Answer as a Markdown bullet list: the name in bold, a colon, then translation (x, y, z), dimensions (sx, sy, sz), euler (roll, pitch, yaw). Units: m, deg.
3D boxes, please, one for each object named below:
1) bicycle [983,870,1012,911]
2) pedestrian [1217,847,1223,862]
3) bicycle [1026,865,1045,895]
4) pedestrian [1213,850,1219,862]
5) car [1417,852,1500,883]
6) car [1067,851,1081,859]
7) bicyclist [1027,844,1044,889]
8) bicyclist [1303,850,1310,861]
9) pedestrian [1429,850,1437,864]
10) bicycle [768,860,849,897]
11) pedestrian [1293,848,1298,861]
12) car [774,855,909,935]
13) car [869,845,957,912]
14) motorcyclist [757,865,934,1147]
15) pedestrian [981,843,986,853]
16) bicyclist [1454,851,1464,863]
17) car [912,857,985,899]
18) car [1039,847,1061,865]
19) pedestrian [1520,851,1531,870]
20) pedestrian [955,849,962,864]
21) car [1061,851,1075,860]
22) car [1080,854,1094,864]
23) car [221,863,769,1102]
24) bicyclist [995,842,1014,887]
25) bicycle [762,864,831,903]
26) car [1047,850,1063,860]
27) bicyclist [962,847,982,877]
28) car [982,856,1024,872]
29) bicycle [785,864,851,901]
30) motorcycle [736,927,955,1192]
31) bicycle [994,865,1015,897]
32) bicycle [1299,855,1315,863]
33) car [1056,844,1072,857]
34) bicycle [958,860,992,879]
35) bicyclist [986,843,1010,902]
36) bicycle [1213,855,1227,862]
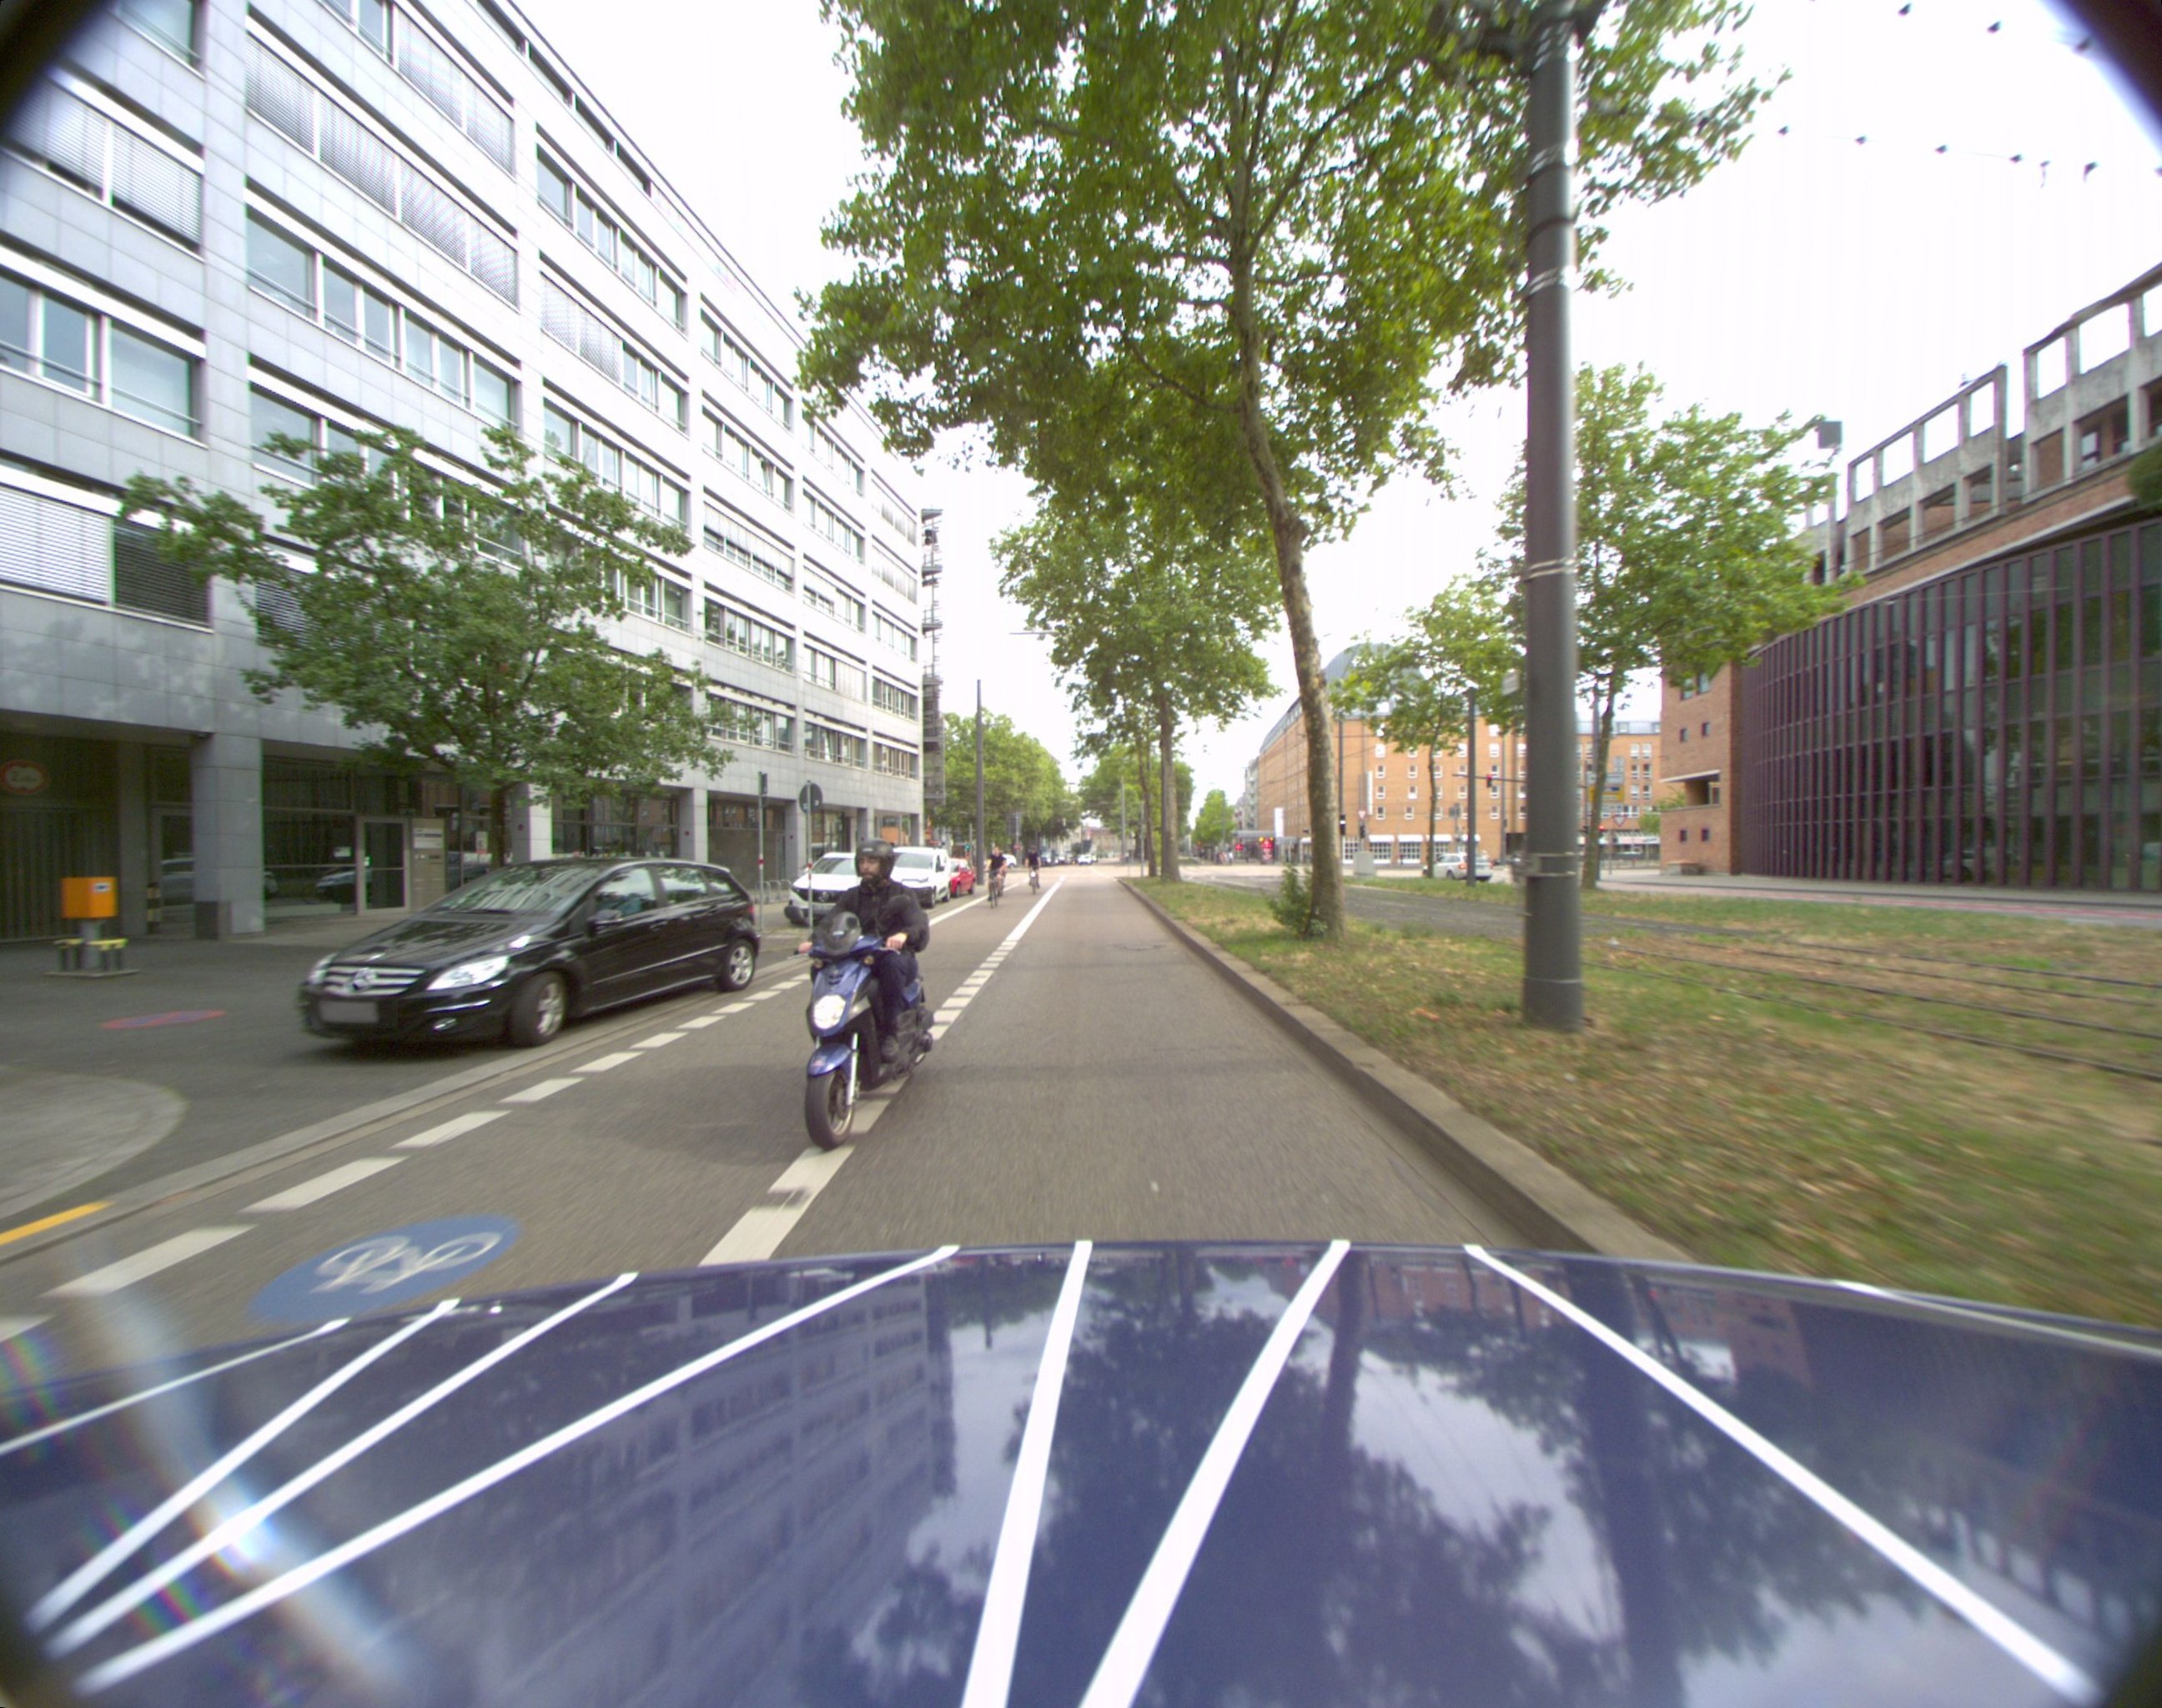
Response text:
- **bicycle**: translation (-2.530, 1.088, 23.220), dimensions (0.595, 1.132, 2.091), euler (0, 0, 1)
- **pedestrian**: translation (18.421, 0.061, 100.489), dimensions (0.693, 1.941, 0.534), euler (0, 1, -1)
- **bicycle**: translation (-1.793, 1.003, 29.930), dimensions (0.595, 1.132, 1.858), euler (0, 0, 1)
- **pedestrian**: translation (18.242, 0.275, 102.965), dimensions (0.684, 1.696, 0.534), euler (0, 1, -8)
- **car**: translation (18.543, 0.634, 37.602), dimensions (1.788, 1.413, 4.657), euler (0, 0, -1)
- **car**: translation (-1.214, 0.176, 134.193), dimensions (1.997, 1.270, 4.002), euler (0, 1, 8)
- **bicyclist**: translation (-1.783, 0.476, 29.942), dimensions (0.591, 1.760, 1.035), euler (0, 1, 1)
- **bicyclist**: translation (29.422, 0.199, 98.975), dimensions (0.864, 1.493, 0.637), euler (0, 1, 13)
- **pedestrian**: translation (42.409, 0.386, 91.599), dimensions (0.578, 1.722, 0.750), euler (0, 1, -6)
- **bicycle**: translation (-9.639, 0.868, 26.940), dimensions (2.639, 1.251, 0.655), euler (-1, 1, 1)
- **pedestrian**: translation (28.369, 0.108, 100.392), dimensions (0.563, 1.696, 0.535), euler (0, 1, 1)
- **car**: translation (-5.489, 0.867, 18.078), dimensions (2.000, 1.593, 4.581), euler (2, 0, -4)
- **car**: translation (-5.145, 0.694, 23.893), dimensions (1.832, 1.853, 4.647), euler (1, 0, -2)
- **motorcyclist**: translation (-1.382, 0.840, 4.659), dimensions (0.761, 1.510, 1.017), euler (0, 1, -1)
- **pedestrian**: translation (-16.213, -1.029, 125.941), dimensions (0.586, 1.722, 0.745), euler (0, 2, 20)
- **bicyclist**: translation (46.283, 0.364, 93.078), dimensions (0.865, 1.493, 0.636), euler (0, 1, -1)
- **car**: translation (-5.027, 0.868, 29.379), dimensions (1.726, 1.424, 4.254), euler (2, 0, 5)
- **car**: translation (-4.275, 0.231, 106.226), dimensions (2.174, 2.441, 6.999), euler (-1, 0, 4)
- **pedestrian**: translation (40.882, 0.633, 69.835), dimensions (0.578, 1.722, 0.751), euler (0, 1, -1)
- **pedestrian**: translation (-14.338, 0.261, 88.817), dimensions (0.678, 1.781, 0.669), euler (0, 1, 3)
- **car**: translation (-2.104, 0.249, 127.670), dimensions (1.915, 1.533, 4.094), euler (0, 0, 6)
- **car**: translation (0.920, 0.746, 115.231), dimensions (1.845, 1.369, 3.835), euler (0, -1, 6)
- **car**: translation (-5.096, 0.925, 7.552), dimensions (1.778, 1.567, 4.307), euler (1, 0, 7)
- **bicyclist**: translation (-2.855, 0.393, 28.398), dimensions (0.591, 1.644, 1.035), euler (0, 1, 1)
- **bicycle**: translation (-8.950, 0.930, 23.895), dimensions (2.059, 1.190, 0.480), euler (0, 1, 8)
- **car**: translation (-3.858, 0.163, 114.183), dimensions (1.756, 1.410, 4.275), euler (0, 1, 6)
- **bicyclist**: translation (-6.574, 0.468, 45.864), dimensions (0.914, 1.754, 0.720), euler (0, 1, 18)
- **car**: translation (-9.192, 1.184, 89.496), dimensions (4.647, 1.651, 1.960), euler (-2, 1, -42)
- **bicycle**: translation (-8.636, 0.928, 24.981), dimensions (2.059, 1.190, 0.480), euler (0, 1, 8)
- **motorcycle**: translation (-1.382, 1.156, 4.975), dimensions (0.769, 1.101, 2.207), euler (0, 1, -1)
- **bicycle**: translation (-2.851, 1.005, 28.475), dimensions (0.595, 1.132, 1.734), euler (0, 0, 1)
- **bicycle**: translation (29.442, 0.615, 98.988), dimensions (2.056, 1.002, 0.640), euler (0, 1, 13)
- **car**: translation (-2.715, -0.561, 121.186), dimensions (1.997, 2.002, 5.439), euler (0, 0, 6)
- **bicycle**: translation (-6.370, 0.943, 45.801), dimensions (1.900, 1.132, 0.727), euler (0, 1, 18)
- **bicyclist**: translation (-2.528, 0.547, 23.157), dimensions (0.591, 1.758, 1.035), euler (0, 1, 1)
- **bicycle**: translation (18.443, 0.633, 100.836), dimensions (1.710, 0.884, 0.499), euler (0, 1, 4)
